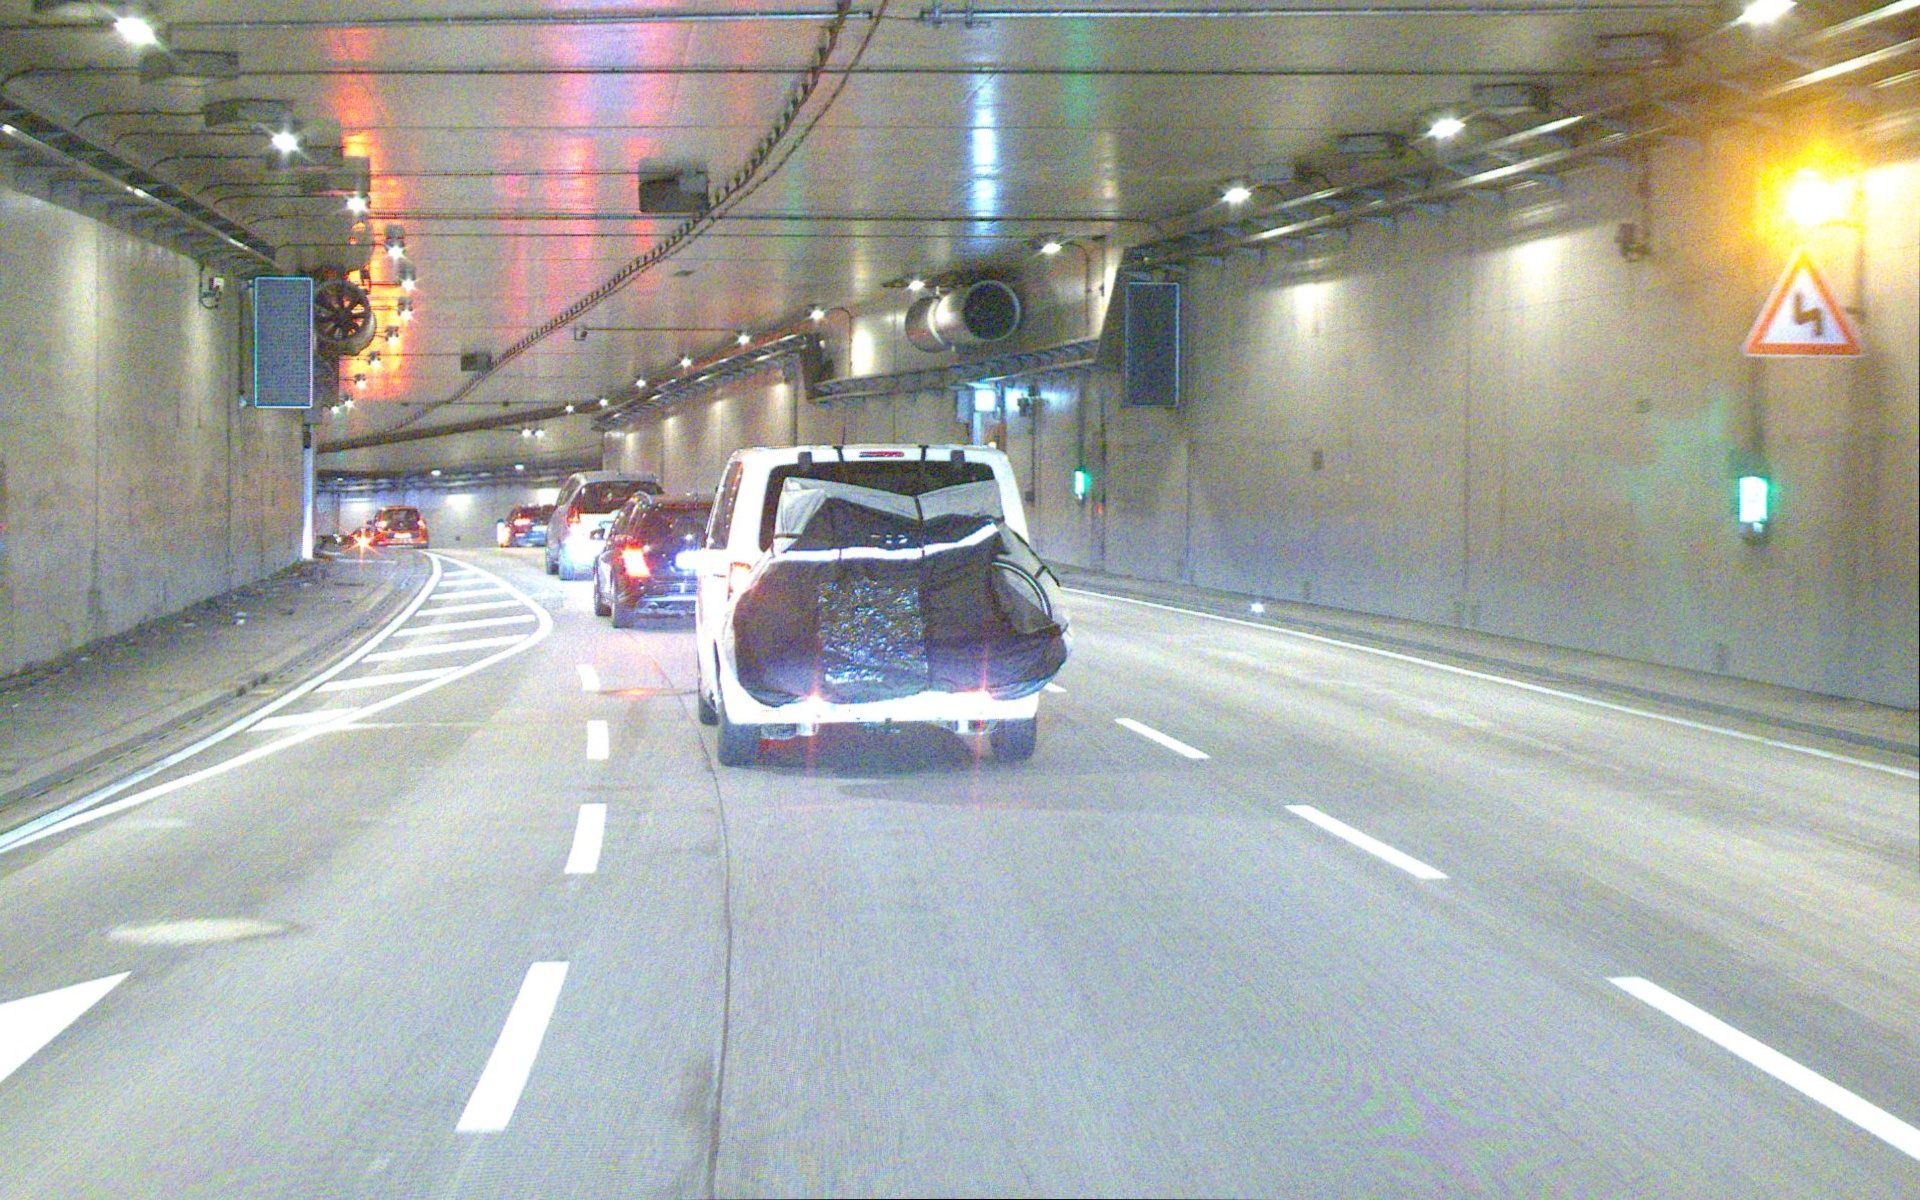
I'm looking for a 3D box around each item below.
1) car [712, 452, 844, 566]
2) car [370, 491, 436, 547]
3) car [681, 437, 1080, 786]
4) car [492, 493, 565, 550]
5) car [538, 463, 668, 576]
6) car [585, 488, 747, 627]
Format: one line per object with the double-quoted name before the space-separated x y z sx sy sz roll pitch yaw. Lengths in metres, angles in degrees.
"car" -3.114 -1.501 58.134 1.872 1.755 4.001 2 0 -8
"car" -17.469 -2.520 107.688 1.822 1.625 3.844 2 0 -12
"car" -0.627 -0.038 20.923 1.993 1.841 5.303 0 2 -6
"car" -13.138 -2.375 104.551 1.822 1.625 3.844 2 0 -13
"car" -5.275 -1.195 50.499 1.602 1.588 3.357 0 2 -11
"car" -3.176 -0.487 36.738 1.602 1.390 3.278 0 2 -7
